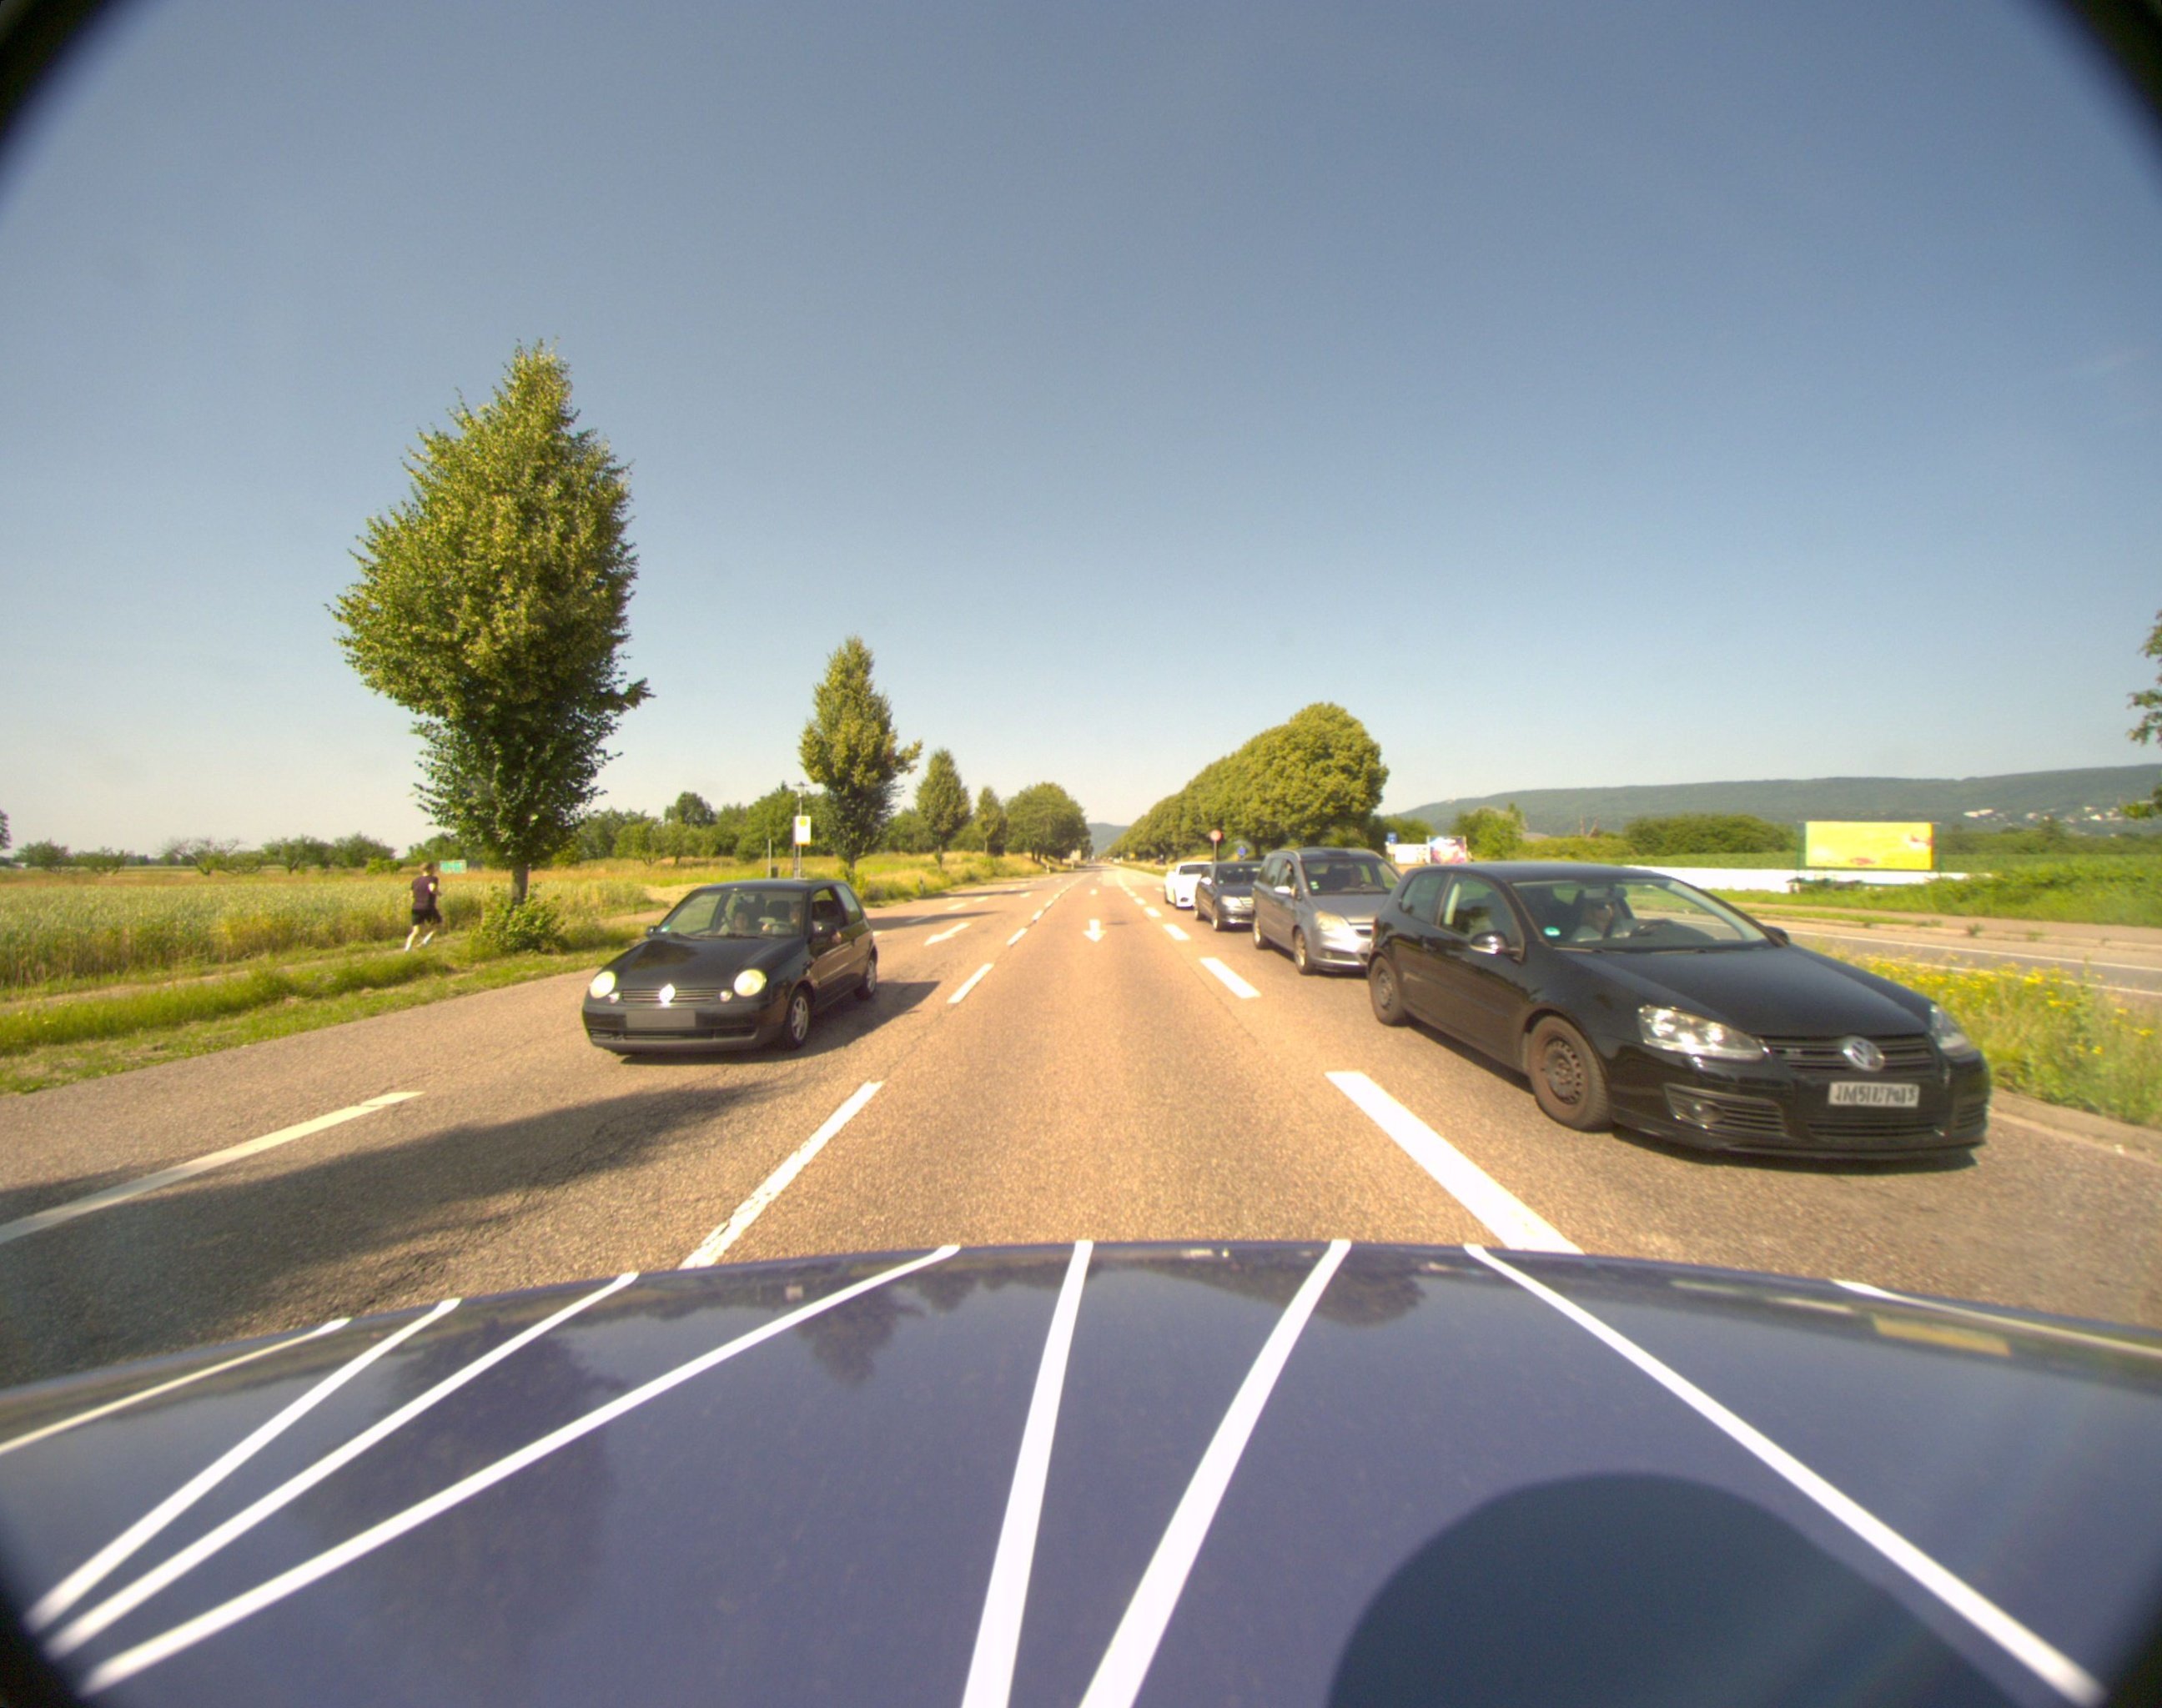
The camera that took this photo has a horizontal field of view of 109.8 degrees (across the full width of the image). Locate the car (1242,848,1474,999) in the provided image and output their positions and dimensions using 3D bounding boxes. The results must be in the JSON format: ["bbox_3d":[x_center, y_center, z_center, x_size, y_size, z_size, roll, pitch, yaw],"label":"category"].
[{"bbox_3d":[3.588,0.799,10.762,1.745,1.662,4.357,-2,0,1],"label":"car"}]

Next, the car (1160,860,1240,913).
[{"bbox_3d":[3.610,0.952,23.832,1.808,1.417,4.641,-2,0,1],"label":"car"}]

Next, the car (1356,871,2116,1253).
[{"bbox_3d":[3.412,0.899,5.151,1.670,1.466,4.098,-1,0,1],"label":"car"}]

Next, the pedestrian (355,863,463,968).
[{"bbox_3d":[-12.304,1.089,13.958,0.904,1.828,1.194,0,0,-1],"label":"pedestrian"}]

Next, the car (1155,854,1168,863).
[{"bbox_3d":[15.977,0.878,150.726,1.998,1.830,4.954,2,0,1],"label":"car"}]

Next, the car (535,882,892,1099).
[{"bbox_3d":[-3.170,1.082,7.432,1.629,1.425,3.623,-2,0,1],"label":"car"}]

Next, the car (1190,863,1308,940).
[{"bbox_3d":[3.564,0.947,16.897,1.718,1.402,4.355,-1,0,1],"label":"car"}]
